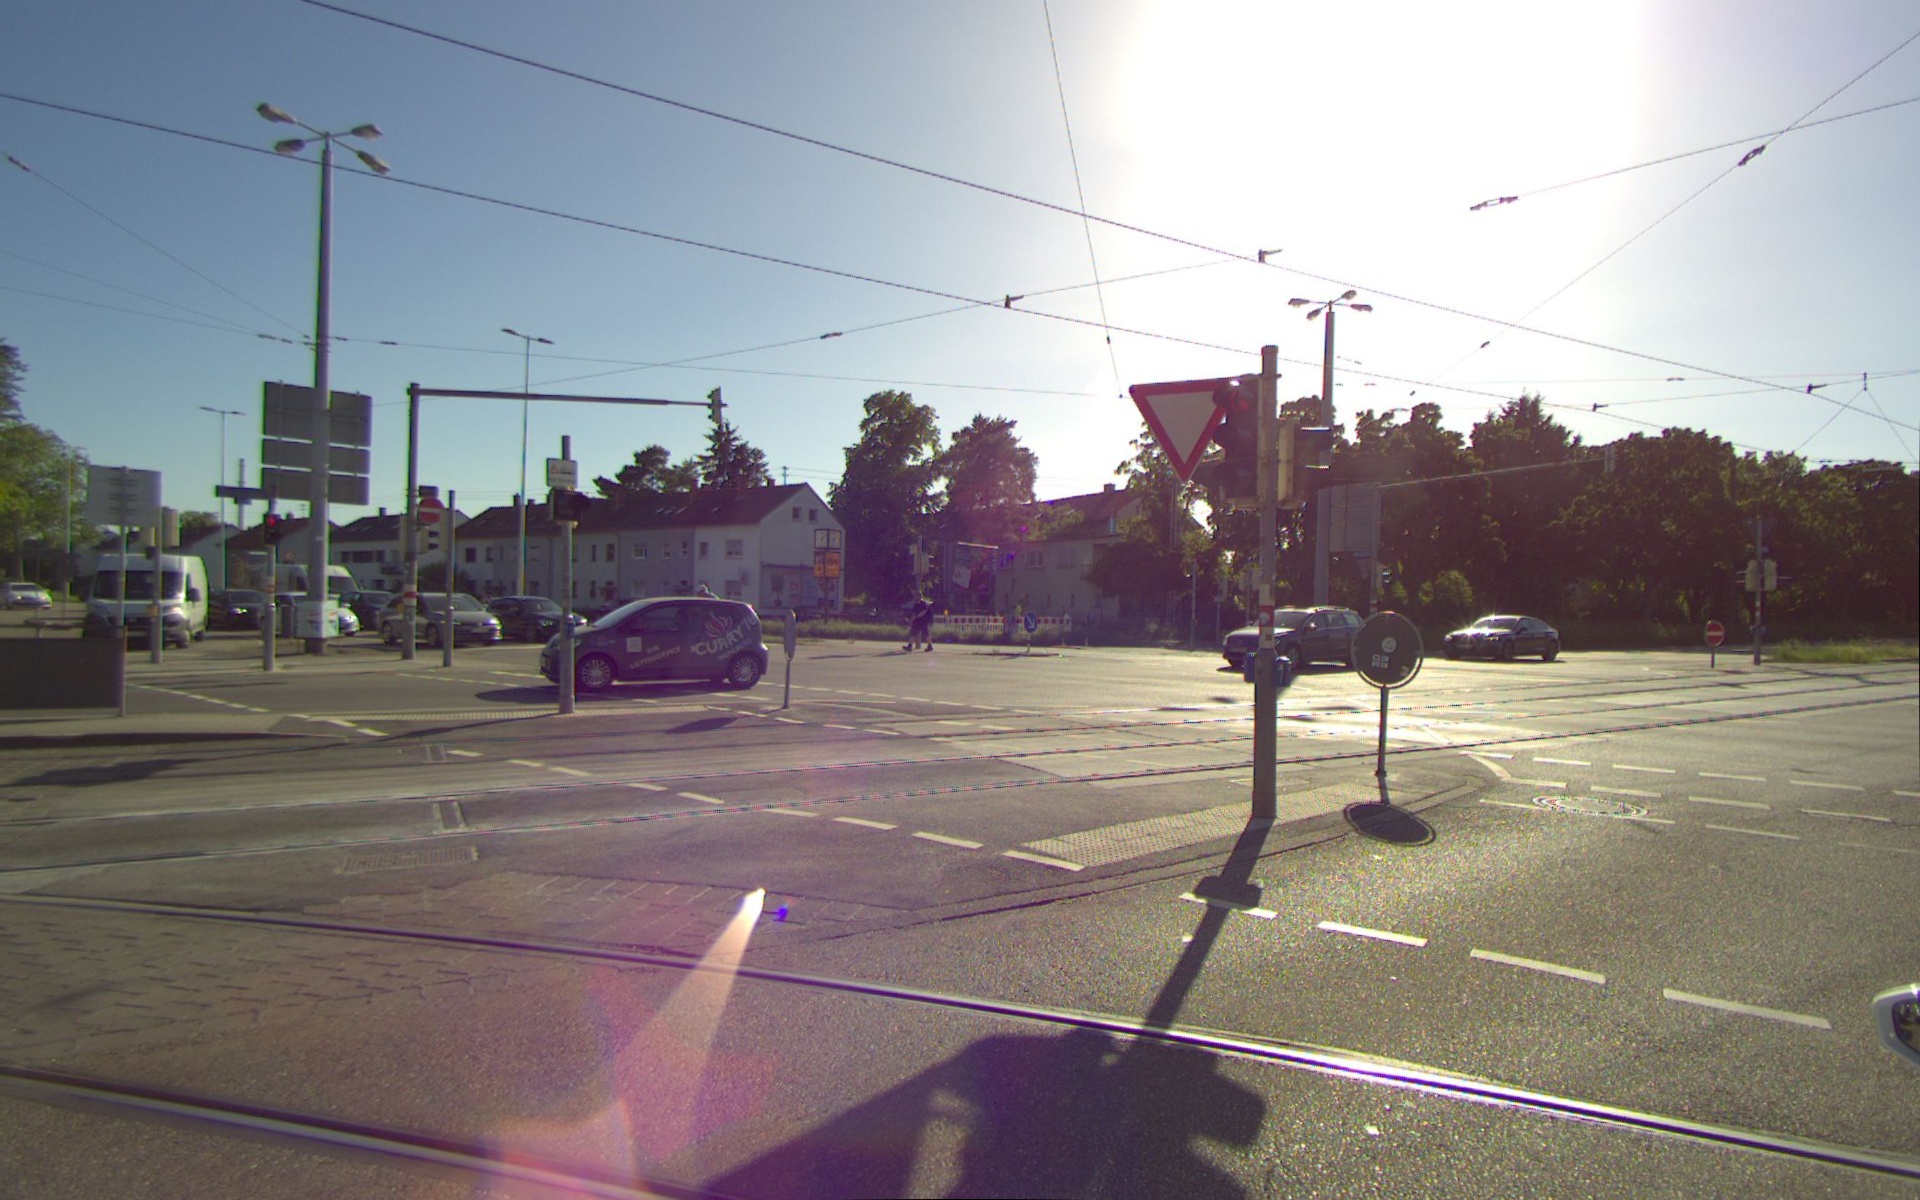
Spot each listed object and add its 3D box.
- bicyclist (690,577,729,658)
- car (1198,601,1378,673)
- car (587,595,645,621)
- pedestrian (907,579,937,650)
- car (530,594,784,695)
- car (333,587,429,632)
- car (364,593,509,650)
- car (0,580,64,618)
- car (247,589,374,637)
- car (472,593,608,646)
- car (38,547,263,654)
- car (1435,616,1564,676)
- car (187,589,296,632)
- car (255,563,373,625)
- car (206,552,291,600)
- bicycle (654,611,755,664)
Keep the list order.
[{"bbox_3d":[-5.140,0.357,20.596,0.641,1.630,0.487,1,0,-30],"label":"bicyclist"},{"bbox_3d":[8.201,0.888,24.988,4.645,1.617,1.802,1,0,-34],"label":"car"},{"bbox_3d":[-24.653,0.544,71.881,3.933,1.785,1.994,1,0,35],"label":"car"},{"bbox_3d":[-1.074,0.410,28.680,0.599,1.974,0.776,1,0,17],"label":"pedestrian"},{"bbox_3d":[-4.932,0.693,16.482,3.664,1.478,1.673,1,0,-33],"label":"car"},{"bbox_3d":[-21.923,0.330,37.961,3.934,1.595,1.657,1,0,36],"label":"car"},{"bbox_3d":[-14.930,0.574,28.567,4.557,1.496,1.668,1,-1,34],"label":"car"},{"bbox_3d":[-51.453,-0.043,55.577,3.934,2.040,1.993,1,-1,36],"label":"car"},{"bbox_3d":[-21.407,0.409,33.076,4.291,1.486,1.933,1,-1,33],"label":"car"},{"bbox_3d":[-13.170,0.576,31.473,4.176,1.486,1.933,1,0,33],"label":"car"},{"bbox_3d":[-21.308,0.037,26.942,2.311,2.490,6.843,1,0,-18],"label":"car"},{"bbox_3d":[16.769,1.399,31.182,3.957,1.710,1.782,1,0,-32],"label":"car"},{"bbox_3d":[-26.711,0.381,37.318,4.186,1.486,1.933,1,-1,33],"label":"car"},{"bbox_3d":[-27.173,-0.252,42.183,5.824,2.443,2.174,1,0,36],"label":"car"},{"bbox_3d":[-32.167,-1.063,45.388,3.931,2.040,1.803,1,0,33],"label":"car"},{"bbox_3d":[-5.219,0.767,20.552,1.926,1.056,0.505,1,0,-30],"label":"bicycle"}]
